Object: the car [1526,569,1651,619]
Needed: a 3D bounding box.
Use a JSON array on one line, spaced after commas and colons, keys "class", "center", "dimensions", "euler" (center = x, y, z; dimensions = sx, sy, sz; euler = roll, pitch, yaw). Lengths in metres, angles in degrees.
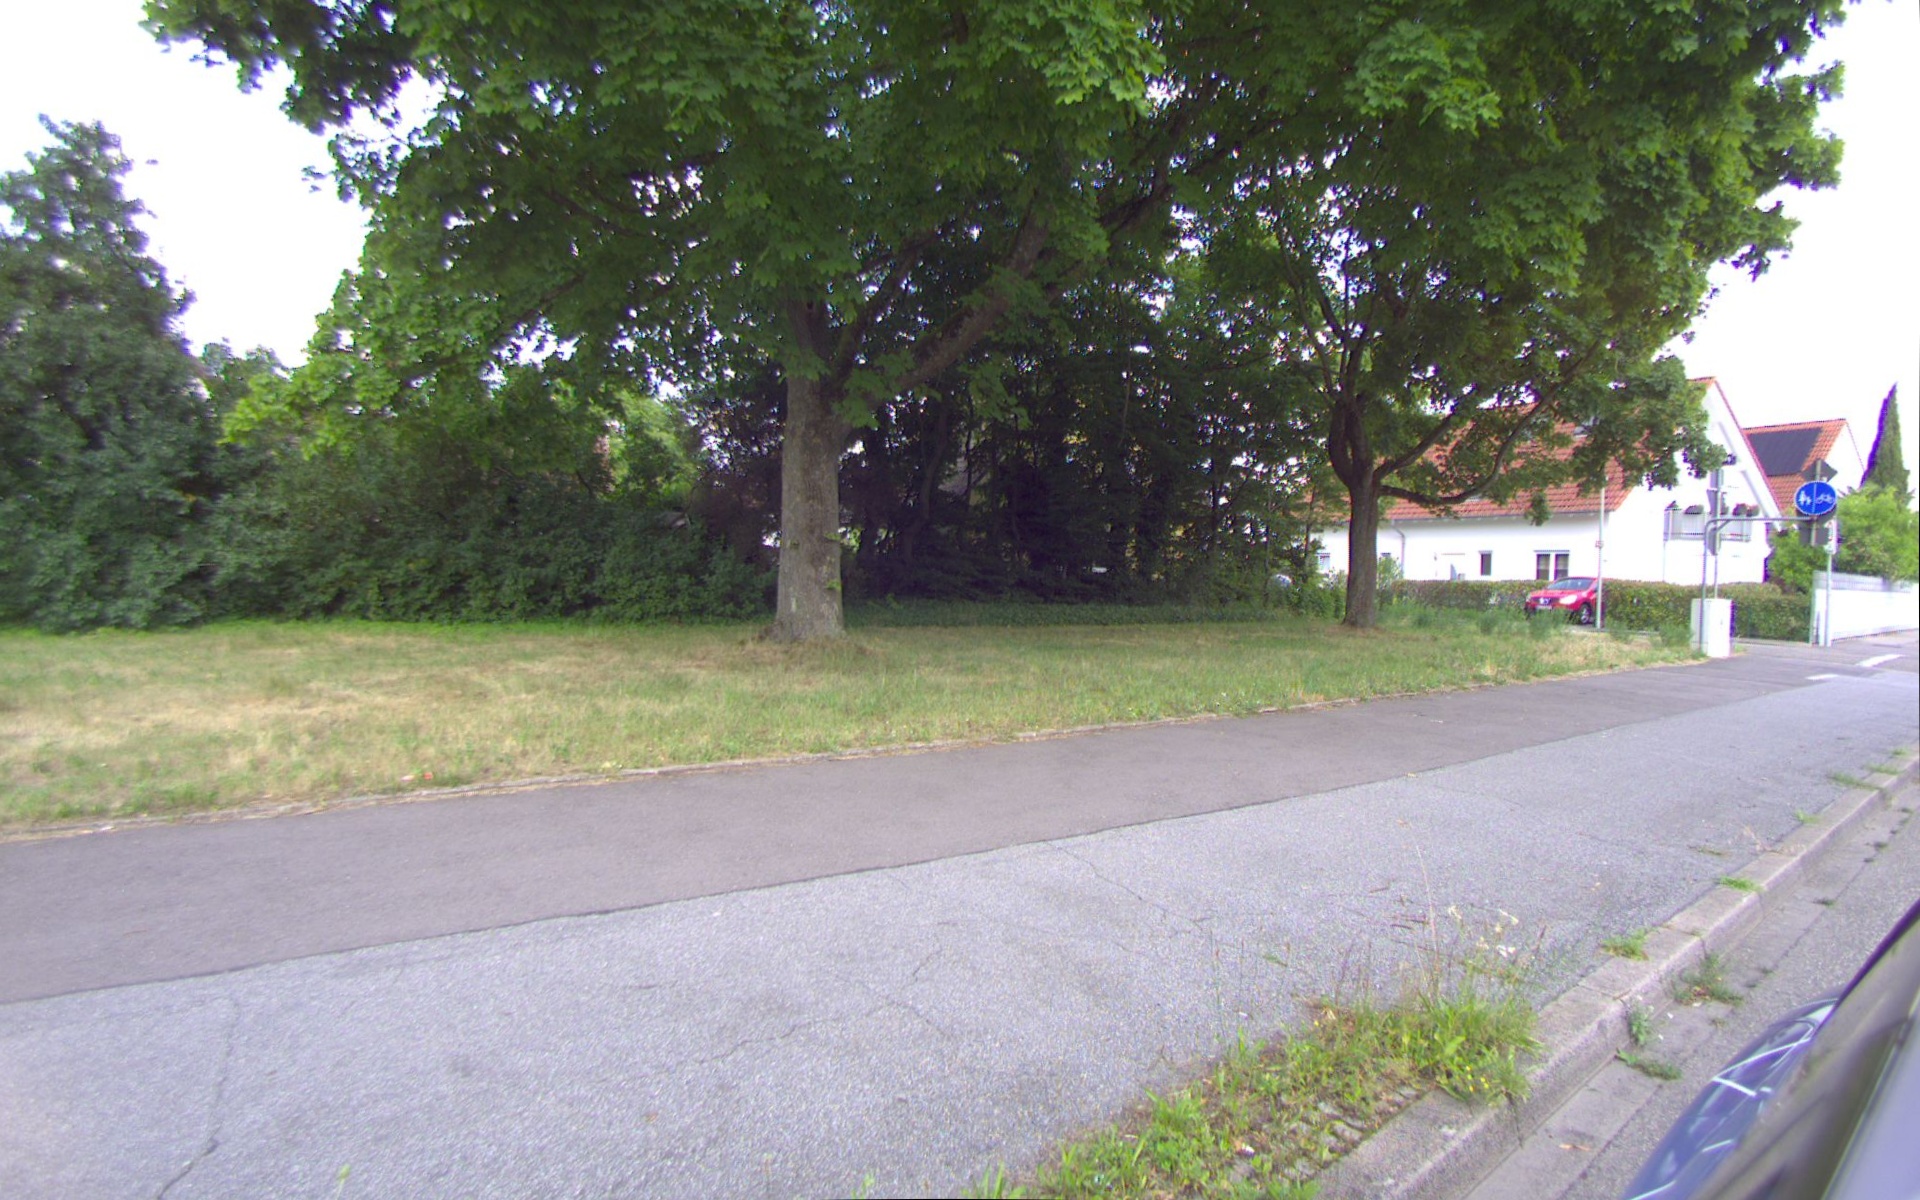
[{"class": "car", "center": [20.981, -0.177, 33.770], "dimensions": [4.305, 1.549, 1.684], "euler": [1, 2, -30]}]
